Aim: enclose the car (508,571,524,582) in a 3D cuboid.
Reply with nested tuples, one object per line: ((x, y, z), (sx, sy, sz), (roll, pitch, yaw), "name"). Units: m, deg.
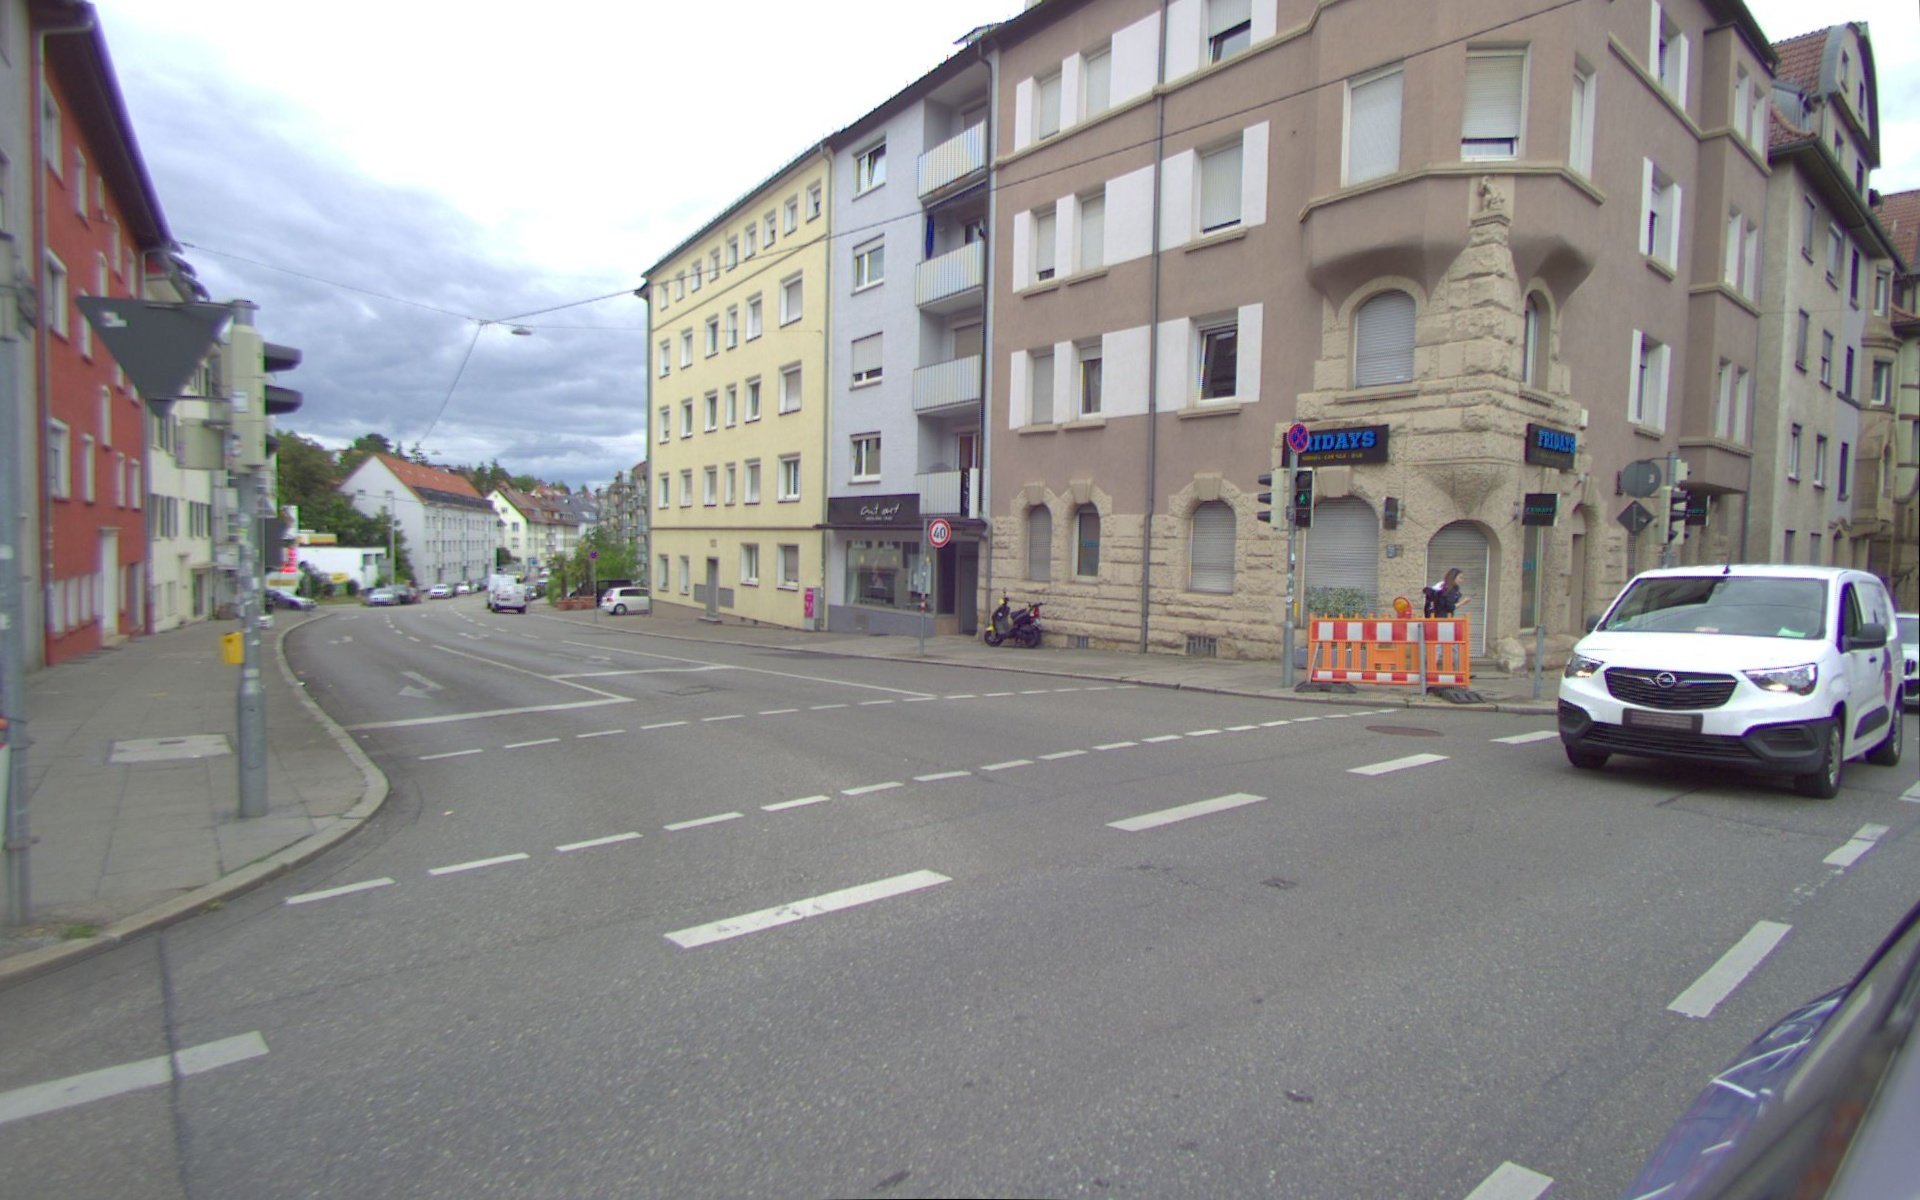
((-70.093, -3.737, 159.844), (1.837, 1.556, 4.008), (2, 0, -16), "car")

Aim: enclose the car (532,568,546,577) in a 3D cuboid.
((-78.535, -5.095, 188.820), (1.837, 1.556, 4.008), (2, 0, -16), "car")

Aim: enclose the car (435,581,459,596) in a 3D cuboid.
((-58.082, -1.295, 114.604), (1.837, 1.705, 4.008), (2, 0, -18), "car")

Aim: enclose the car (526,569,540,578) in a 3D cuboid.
((-76.117, -4.701, 180.443), (1.837, 1.556, 4.008), (2, 0, -16), "car")

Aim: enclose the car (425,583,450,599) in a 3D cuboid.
((-56.249, -0.958, 109.009), (1.837, 1.705, 4.008), (2, 0, -20), "car")

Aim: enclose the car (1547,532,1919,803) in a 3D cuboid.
((7.118, 0.493, 8.999), (4.758, 1.812, 1.787), (2, 0, -40), "car")

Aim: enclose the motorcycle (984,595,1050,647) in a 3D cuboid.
((1.280, 0.459, 23.097), (0.505, 1.096, 1.683), (-2, 2, -38), "motorcycle")

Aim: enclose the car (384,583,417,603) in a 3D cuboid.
((-49.369, -0.600, 89.305), (1.837, 1.640, 4.008), (2, 0, -19), "car")

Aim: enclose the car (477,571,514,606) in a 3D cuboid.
((-34.404, -0.868, 74.836), (1.833, 2.258, 4.004), (3, 2, -33), "car")

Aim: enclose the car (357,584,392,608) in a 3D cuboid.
((-46.355, -0.301, 80.160), (1.837, 1.790, 4.008), (2, 0, -22), "car")

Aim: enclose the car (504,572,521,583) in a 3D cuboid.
((-68.567, -3.505, 155.199), (1.837, 1.556, 4.008), (2, 0, -16), "car")

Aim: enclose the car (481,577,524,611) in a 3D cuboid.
((-29.325, -0.416, 64.798), (1.833, 1.882, 4.004), (2, 2, -33), "car")

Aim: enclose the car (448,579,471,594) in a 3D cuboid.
((-60.590, -1.635, 122.551), (1.837, 1.705, 4.008), (2, 0, -18), "car")

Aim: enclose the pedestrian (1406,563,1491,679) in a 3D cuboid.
((7.396, 0.301, 15.327), (0.999, 1.668, 0.725), (2, 0, 37), "pedestrian")

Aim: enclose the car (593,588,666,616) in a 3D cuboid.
((-17.881, 0.091, 54.778), (3.428, 1.416, 1.781), (2, 0, -29), "car")

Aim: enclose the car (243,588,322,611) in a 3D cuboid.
((-44.901, -0.026, 67.171), (3.916, 1.455, 2.004), (1, 0, -15), "car")

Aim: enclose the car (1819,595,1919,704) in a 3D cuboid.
((15.810, 0.816, 16.817), (4.090, 1.628, 1.778), (3, -2, -41), "car")

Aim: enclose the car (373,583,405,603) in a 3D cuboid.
((-47.724, -0.598, 84.629), (1.837, 1.640, 4.008), (2, 0, -22), "car")
